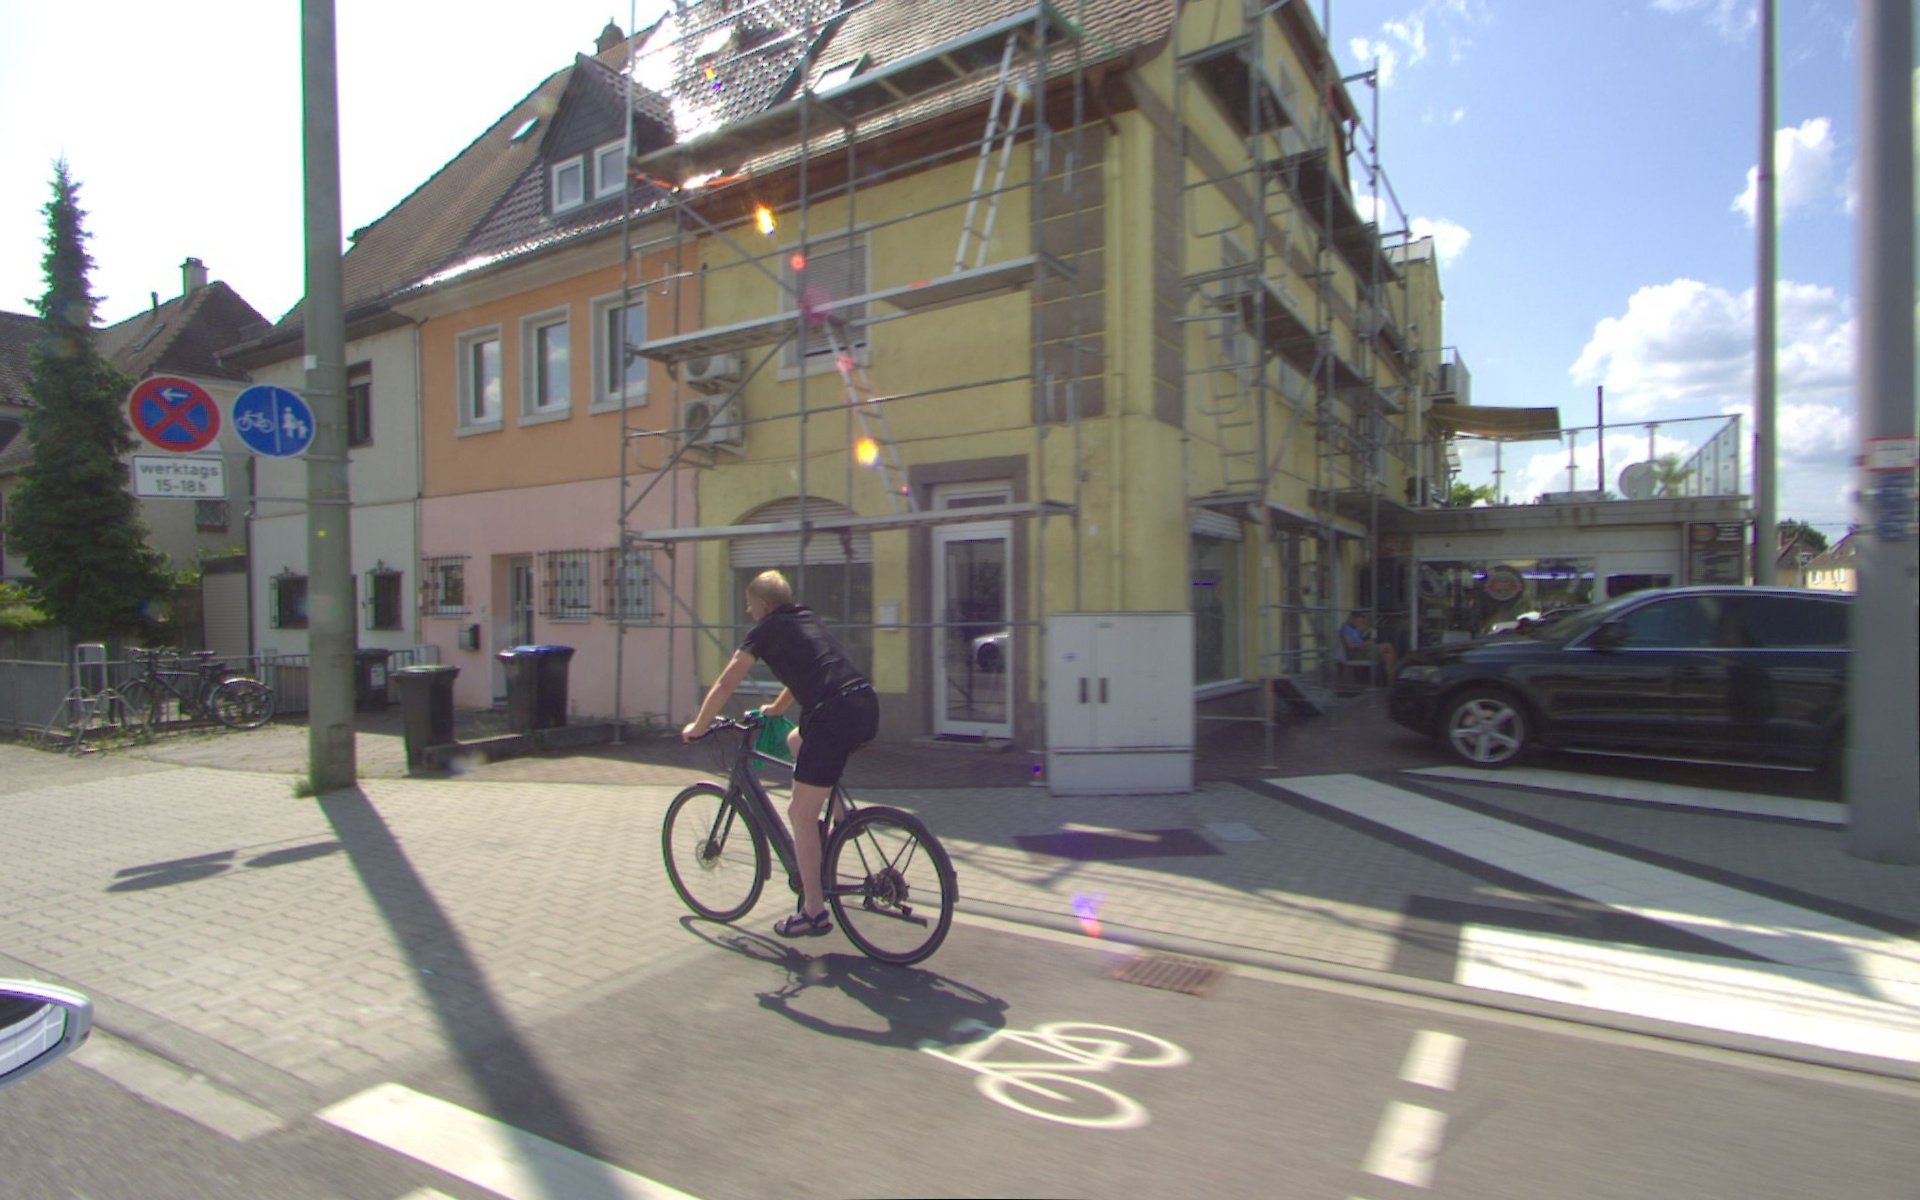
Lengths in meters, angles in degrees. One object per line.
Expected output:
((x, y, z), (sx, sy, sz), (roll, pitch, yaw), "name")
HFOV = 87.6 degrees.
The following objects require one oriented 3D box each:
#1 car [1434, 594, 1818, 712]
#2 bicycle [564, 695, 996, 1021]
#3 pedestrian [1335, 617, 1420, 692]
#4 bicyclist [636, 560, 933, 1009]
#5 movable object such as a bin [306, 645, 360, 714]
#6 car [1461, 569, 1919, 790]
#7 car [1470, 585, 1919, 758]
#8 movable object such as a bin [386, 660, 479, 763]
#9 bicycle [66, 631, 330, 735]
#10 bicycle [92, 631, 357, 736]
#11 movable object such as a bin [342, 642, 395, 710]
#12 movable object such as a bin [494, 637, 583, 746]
((8.797, 0.689, 13.591), (4.073, 1.368, 1.864), (-1, -2, 33), "car")
((-0.877, 1.080, 4.724), (1.942, 1.090, 0.827), (0, 2, 31), "bicycle")
((6.511, 0.841, 15.618), (1.082, 1.114, 0.966), (-1, -2, 32), "pedestrian")
((-0.803, 0.741, 4.663), (1.068, 1.818, 0.826), (0, 2, 31), "bicyclist")
((-9.036, 1.137, 14.431), (0.550, 0.959, 0.467), (-1, 0, 32), "movable object such as a bin")
((6.716, 0.631, 8.672), (4.073, 1.616, 1.990), (-1, -2, 33), "car")
((8.062, 0.735, 11.159), (4.073, 1.616, 1.990), (-1, -2, 33), "car")
((-5.136, 1.064, 9.743), (0.731, 0.930, 0.510), (-1, -1, 33), "movable object such as a bin")
((-10.027, 1.039, 13.351), (0.681, 1.134, 2.720), (-1, 0, 31), "bicycle")
((-9.422, 1.019, 12.993), (0.775, 1.120, 2.656), (-1, 0, 31), "bicycle")
((-8.772, 1.118, 14.843), (0.550, 0.959, 0.467), (-1, 0, 32), "movable object such as a bin")
((-4.547, 0.959, 10.801), (0.843, 1.119, 0.510), (-1, -1, 33), "movable object such as a bin")
